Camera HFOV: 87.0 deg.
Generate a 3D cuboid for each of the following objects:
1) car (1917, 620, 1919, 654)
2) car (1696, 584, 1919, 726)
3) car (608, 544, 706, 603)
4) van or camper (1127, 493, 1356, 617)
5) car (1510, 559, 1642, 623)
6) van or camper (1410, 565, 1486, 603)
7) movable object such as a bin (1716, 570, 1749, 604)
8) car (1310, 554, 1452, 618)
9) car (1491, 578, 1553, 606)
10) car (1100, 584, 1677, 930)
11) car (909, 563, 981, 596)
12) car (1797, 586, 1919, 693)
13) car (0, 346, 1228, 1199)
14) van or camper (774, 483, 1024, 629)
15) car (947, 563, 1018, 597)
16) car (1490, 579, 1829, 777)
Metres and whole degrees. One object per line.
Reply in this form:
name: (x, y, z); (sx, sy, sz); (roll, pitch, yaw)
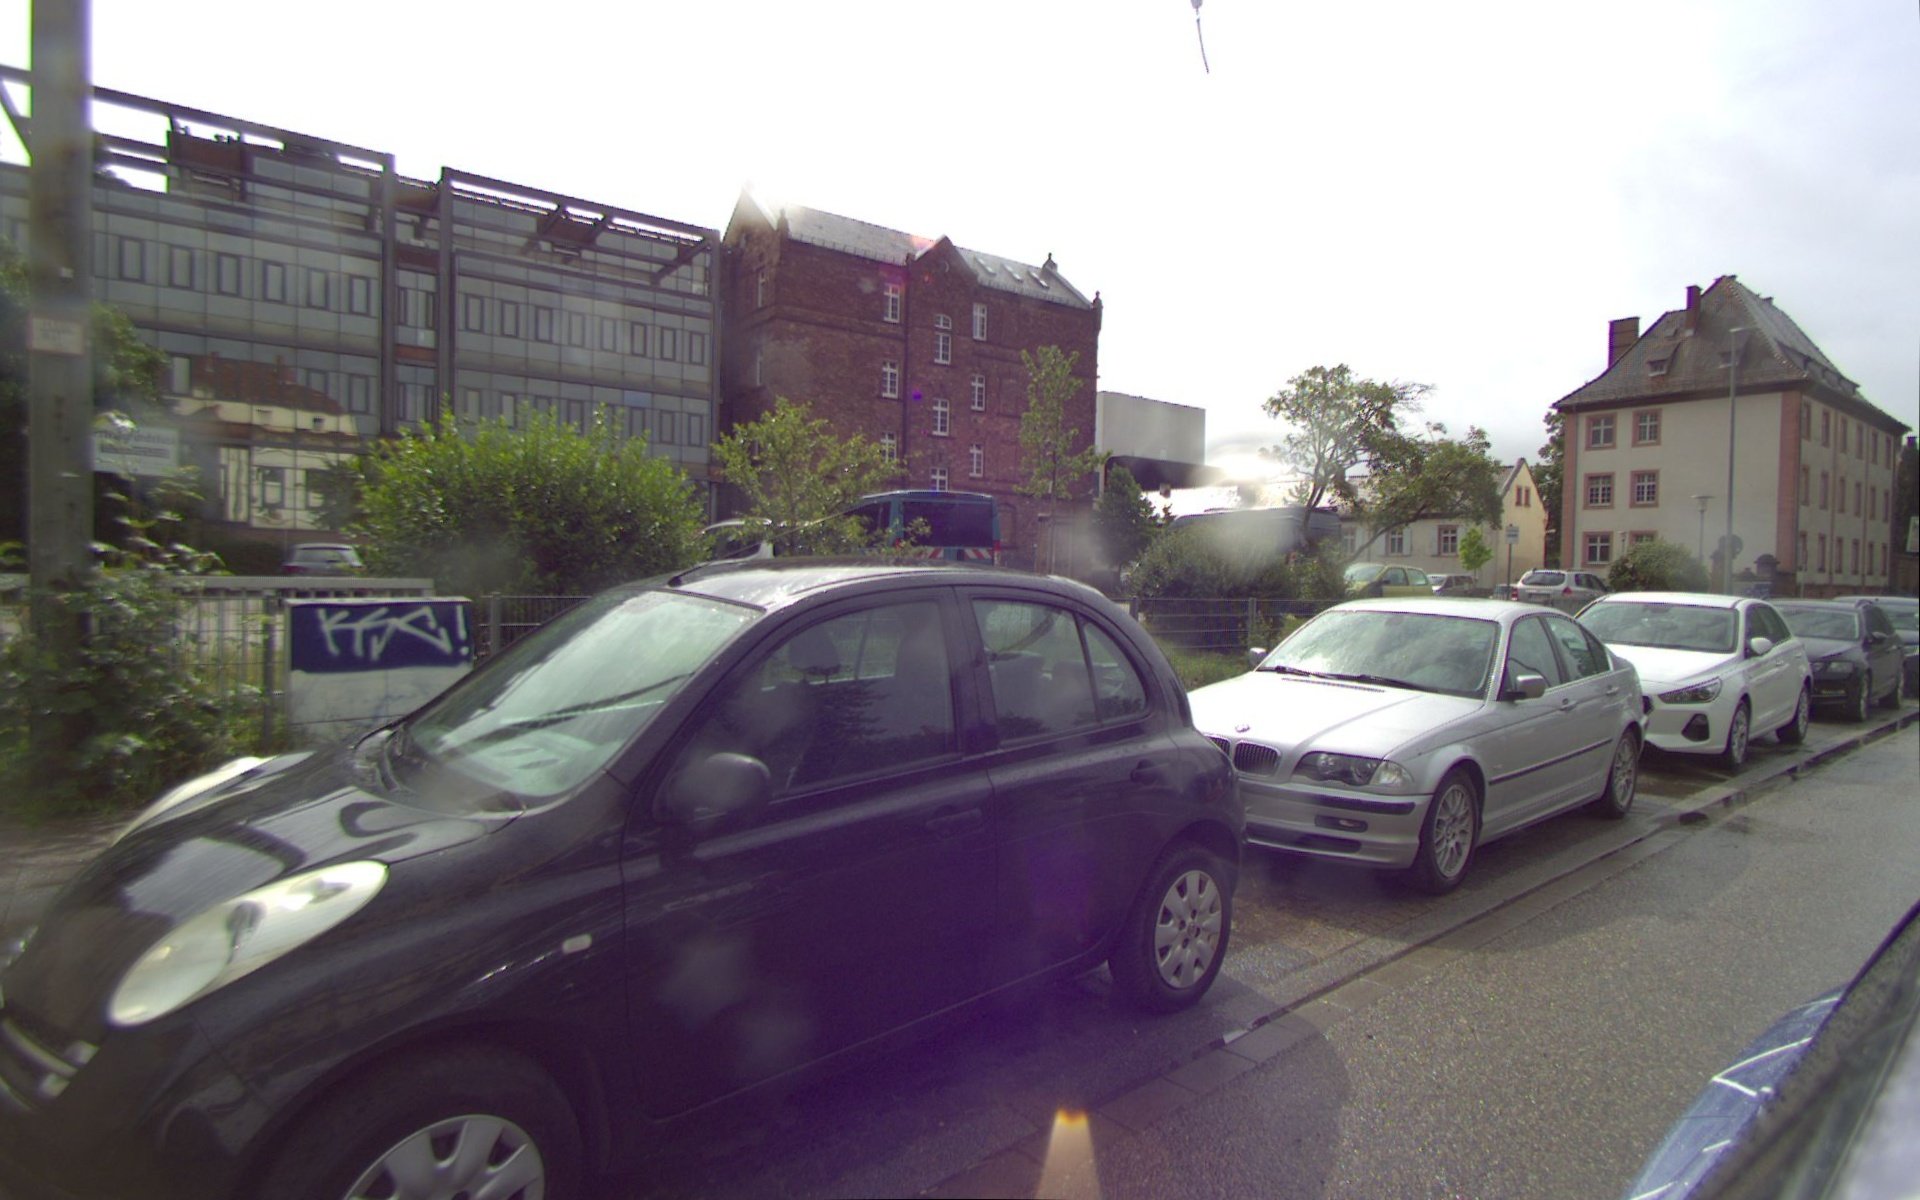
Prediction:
car: (24.351, 0.530, 23.967); (4.298, 1.558, 1.779); (0, 4, -38)
car: (11.467, 0.605, 13.502); (4.085, 1.526, 1.609); (-1, 4, -39)
car: (-8.454, -0.764, 28.029); (1.607, 1.505, 3.681); (0, 2, -33)
van or camper: (6.495, -1.032, 23.948); (2.134, 2.586, 5.016); (-1, 2, -35)
car: (18.573, -0.281, 30.470); (4.157, 1.771, 1.810); (0, 2, -35)
van or camper: (28.670, -0.888, 59.394); (5.087, 2.143, 1.794); (0, 0, -36)
movable object such as a bin: (33.928, -0.573, 44.468); (1.076, 1.475, 0.802); (1, 2, -36)
car: (10.345, -0.347, 24.808); (3.351, 1.466, 1.617); (0, 2, -34)
car: (31.356, -0.455, 56.439); (3.507, 1.464, 1.600); (0, 3, -36)
car: (2.898, 0.653, 6.348); (4.185, 1.471, 1.719); (0, 0, -42)
car: (-0.746, -0.933, 47.743); (1.640, 1.505, 3.678); (0, 0, -35)
car: (15.763, 0.585, 16.973); (3.926, 1.546, 1.762); (-1, 3, -37)
car: (-1.067, 0.472, 2.840); (3.962, 1.682, 1.607); (0, 0, -42)
van or camper: (-1.239, -0.716, 17.598); (2.276, 2.158, 4.778); (1, 1, -33)
car: (1.057, -0.997, 49.556); (1.640, 1.543, 3.680); (0, 2, -35)
car: (6.941, 0.603, 9.886); (4.039, 1.527, 1.752); (0, 1, -41)
